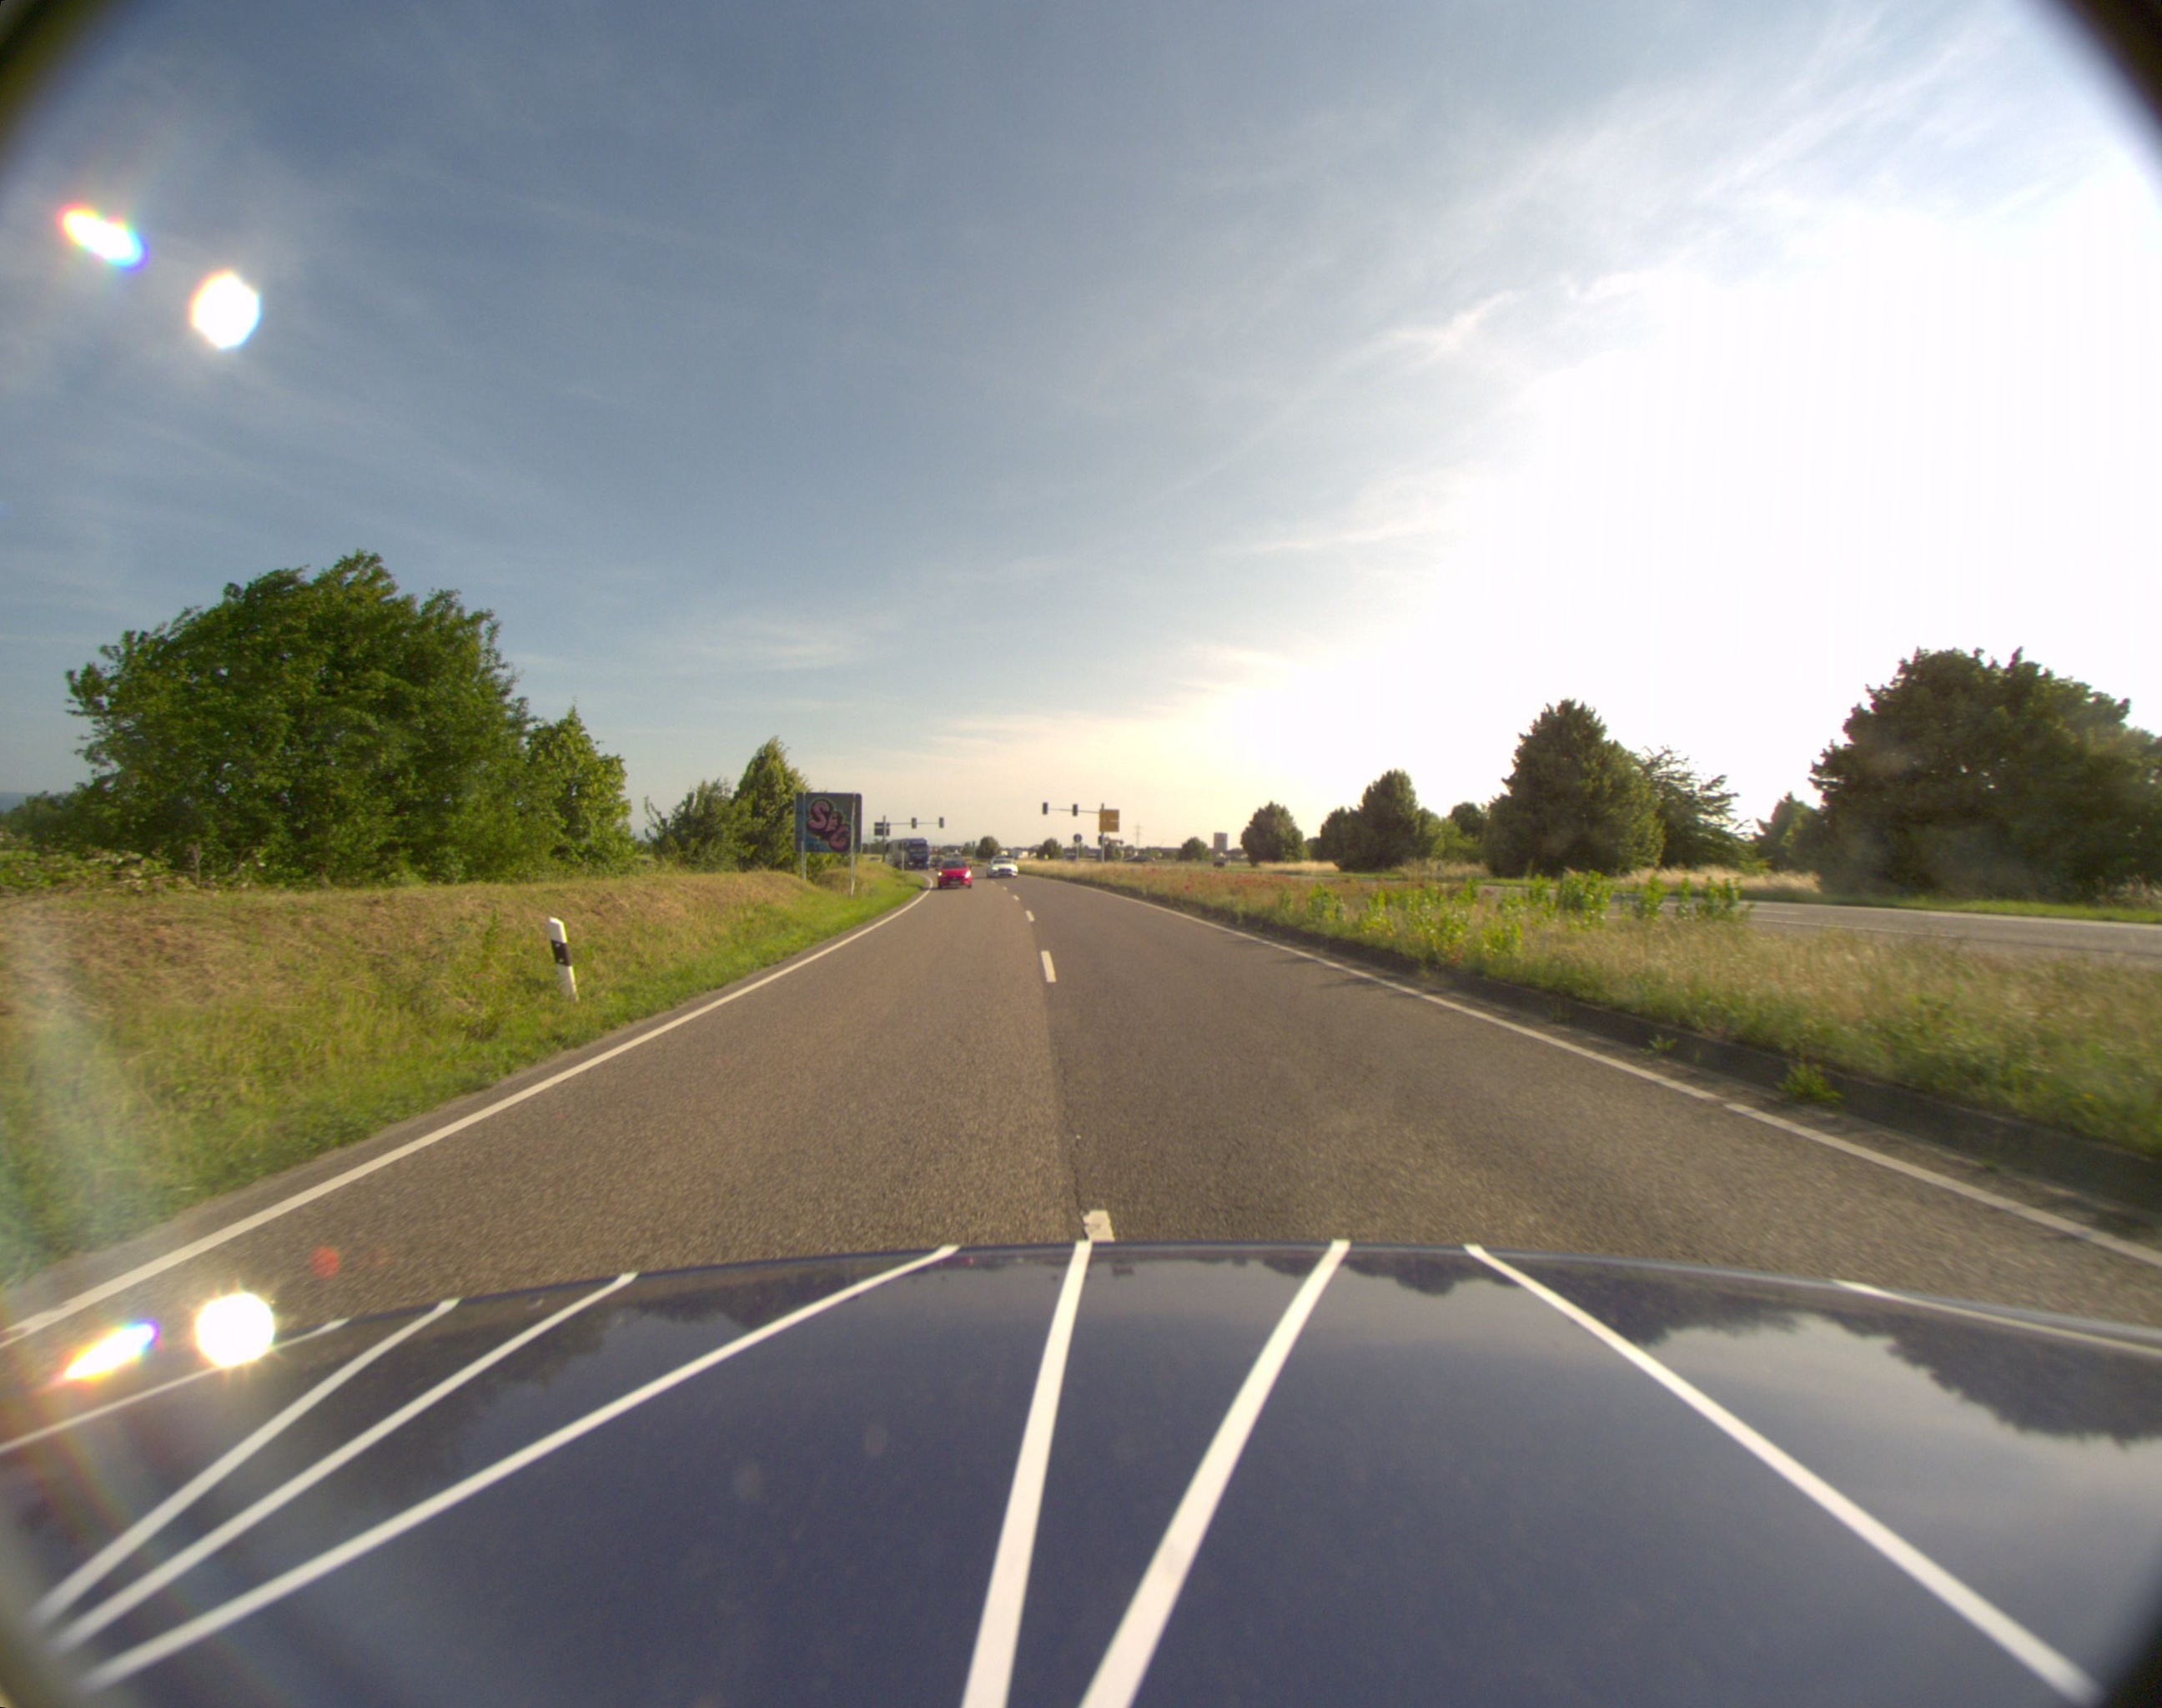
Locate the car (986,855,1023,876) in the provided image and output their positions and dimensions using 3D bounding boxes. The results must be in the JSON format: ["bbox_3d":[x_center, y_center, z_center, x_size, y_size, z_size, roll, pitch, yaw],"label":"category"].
[{"bbox_3d":[-5.698,0.820,56.030,1.878,1.390,4.197,-1,1,-17],"label":"car"}]

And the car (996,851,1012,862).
[{"bbox_3d":[-11.117,0.330,109.674,1.685,1.435,3.746,-2,1,-15],"label":"car"}]

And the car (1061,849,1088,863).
[{"bbox_3d":[-0.793,0.177,89.004,1.920,1.556,4.603,-2,1,-17],"label":"car"}]

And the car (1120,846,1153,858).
[{"bbox_3d":[7.523,-0.281,103.210,4.004,1.390,1.956,-2,0,-22],"label":"car"}]

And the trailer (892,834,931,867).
[{"bbox_3d":[-22.377,-0.477,99.691,2.656,3.956,13.904,-3,1,-21],"label":"trailer"}]

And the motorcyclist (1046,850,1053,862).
[{"bbox_3d":[-4.205,0.256,101.422,0.755,1.595,1.248,-2,1,-15],"label":"motorcyclist"}]

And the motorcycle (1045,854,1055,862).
[{"bbox_3d":[-4.183,0.494,101.368,0.755,1.087,2.305,-2,1,-15],"label":"motorcycle"}]

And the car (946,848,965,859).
[{"bbox_3d":[-22.355,-0.042,134.734,2.002,1.893,5.777,-2,1,-22],"label":"car"}]

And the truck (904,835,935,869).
[{"bbox_3d":[-19.928,-0.273,93.506,2.655,3.897,5.939,-3,1,-20],"label":"truck"}]

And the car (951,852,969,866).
[{"bbox_3d":[-14.108,0.590,88.407,1.753,1.521,3.994,-1,1,-15],"label":"car"}]

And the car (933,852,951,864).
[{"bbox_3d":[-18.953,0.567,103.475,1.834,1.521,3.993,-1,1,-20],"label":"car"}]

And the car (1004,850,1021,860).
[{"bbox_3d":[-10.560,0.121,117.495,1.712,1.516,4.128,-2,1,-18],"label":"car"}]

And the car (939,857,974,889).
[{"bbox_3d":[-6.385,0.952,39.332,1.666,1.456,3.951,-2,1,-8],"label":"car"}]
